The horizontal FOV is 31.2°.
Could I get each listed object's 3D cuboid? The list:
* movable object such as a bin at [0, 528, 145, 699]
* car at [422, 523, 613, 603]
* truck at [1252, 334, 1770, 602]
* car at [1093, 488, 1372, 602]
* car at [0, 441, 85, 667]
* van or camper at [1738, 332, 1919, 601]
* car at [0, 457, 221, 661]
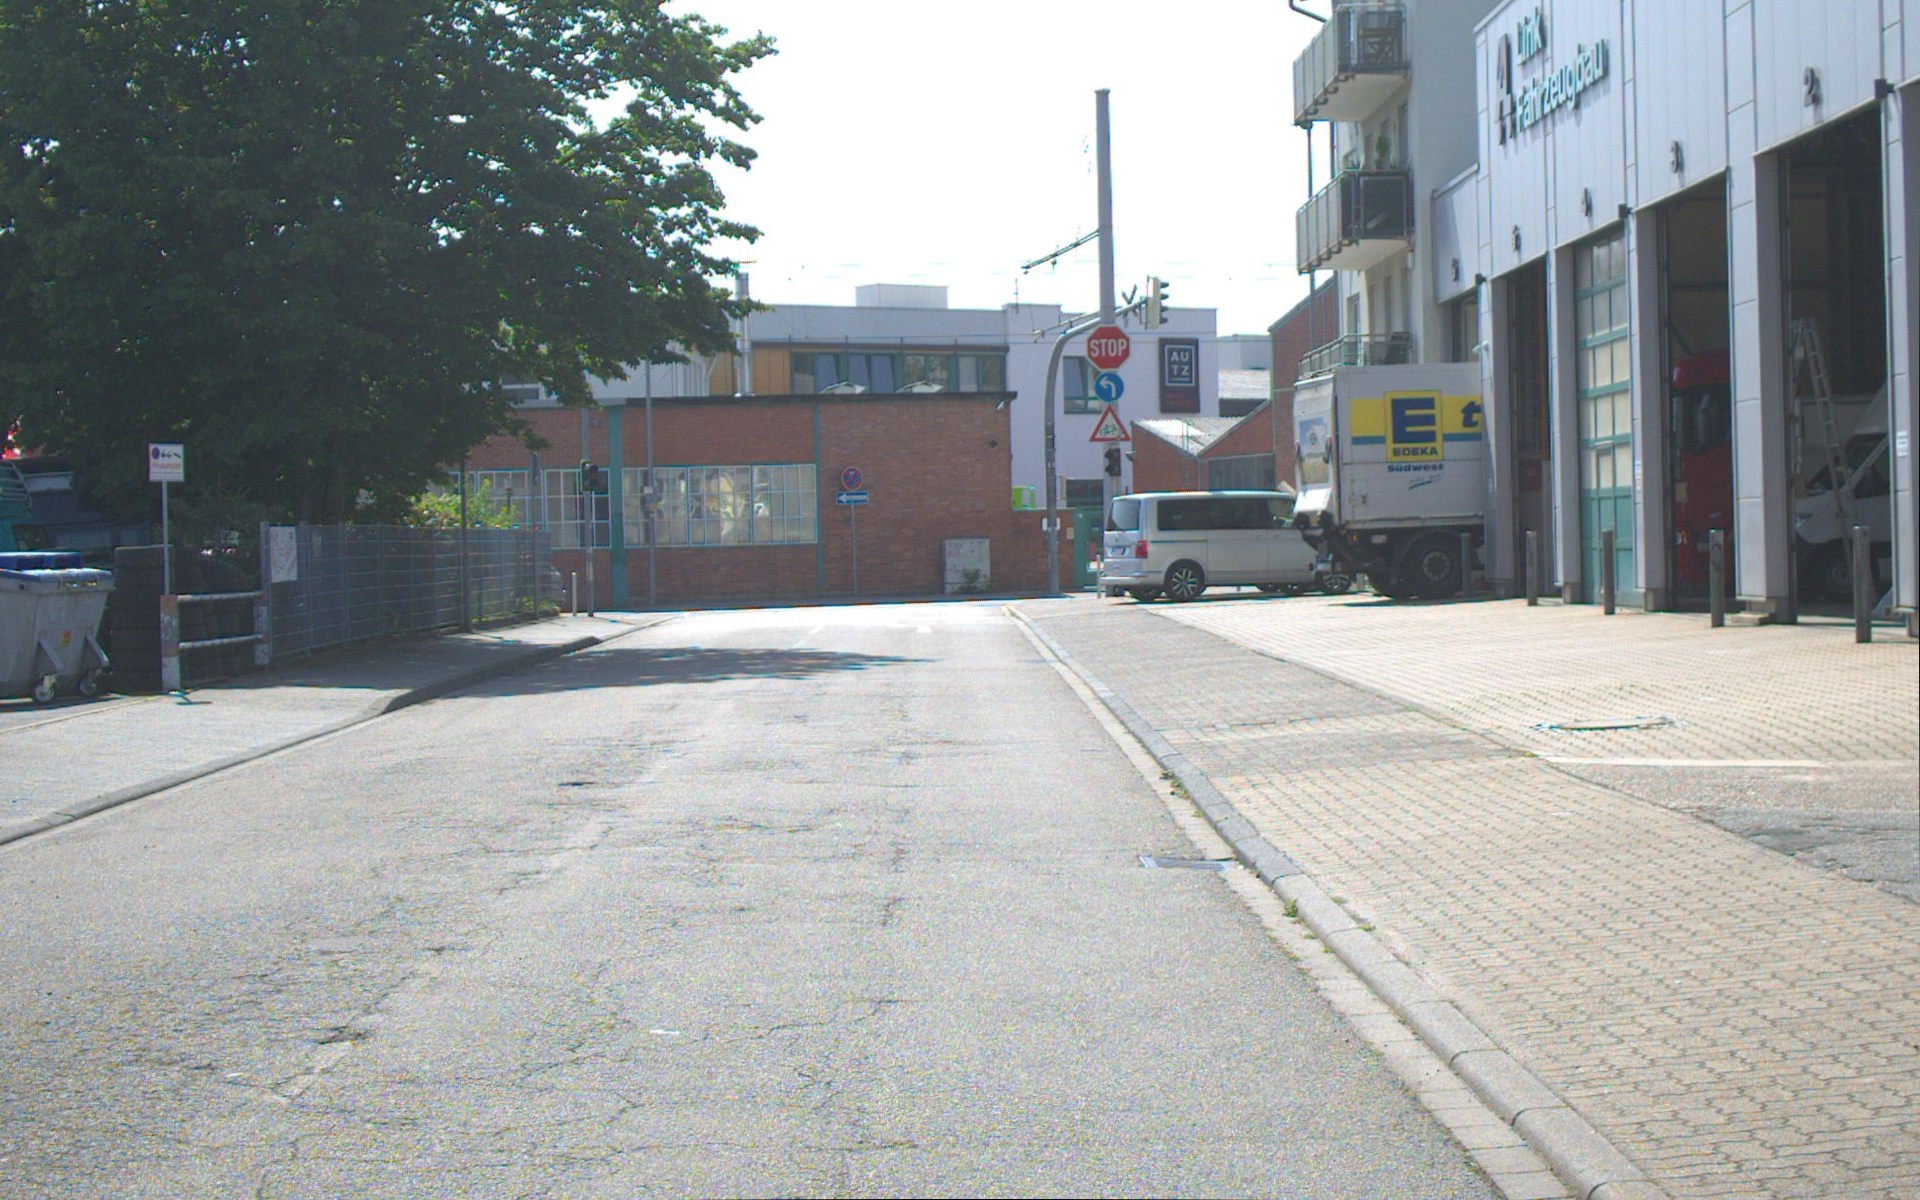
[{"bbox_3d":[-9.313,0.124,31.918,2.627,1.505,2.728,-2,1,5],"label":"movable object such as a bin"},{"bbox_3d":[-10.164,-0.851,78.918,3.951,1.679,1.894,-1,1,30],"label":"car"},{"bbox_3d":[8.601,-2.062,54.084,7.357,3.633,2.768,-4,1,-6],"label":"truck"},{"bbox_3d":[4.944,-1.010,62.508,4.653,1.951,1.917,-1,1,-19],"label":"car"},{"bbox_3d":[-12.218,-0.495,39.059,4.085,2.504,1.777,-1,1,-2],"label":"car"},{"bbox_3d":[12.463,-1.690,43.328,4.755,3.277,2.000,-1,1,-3],"label":"van or camper"},{"bbox_3d":[-11.678,-0.517,43.883,4.085,2.504,1.777,-1,1,-2],"label":"car"}]
